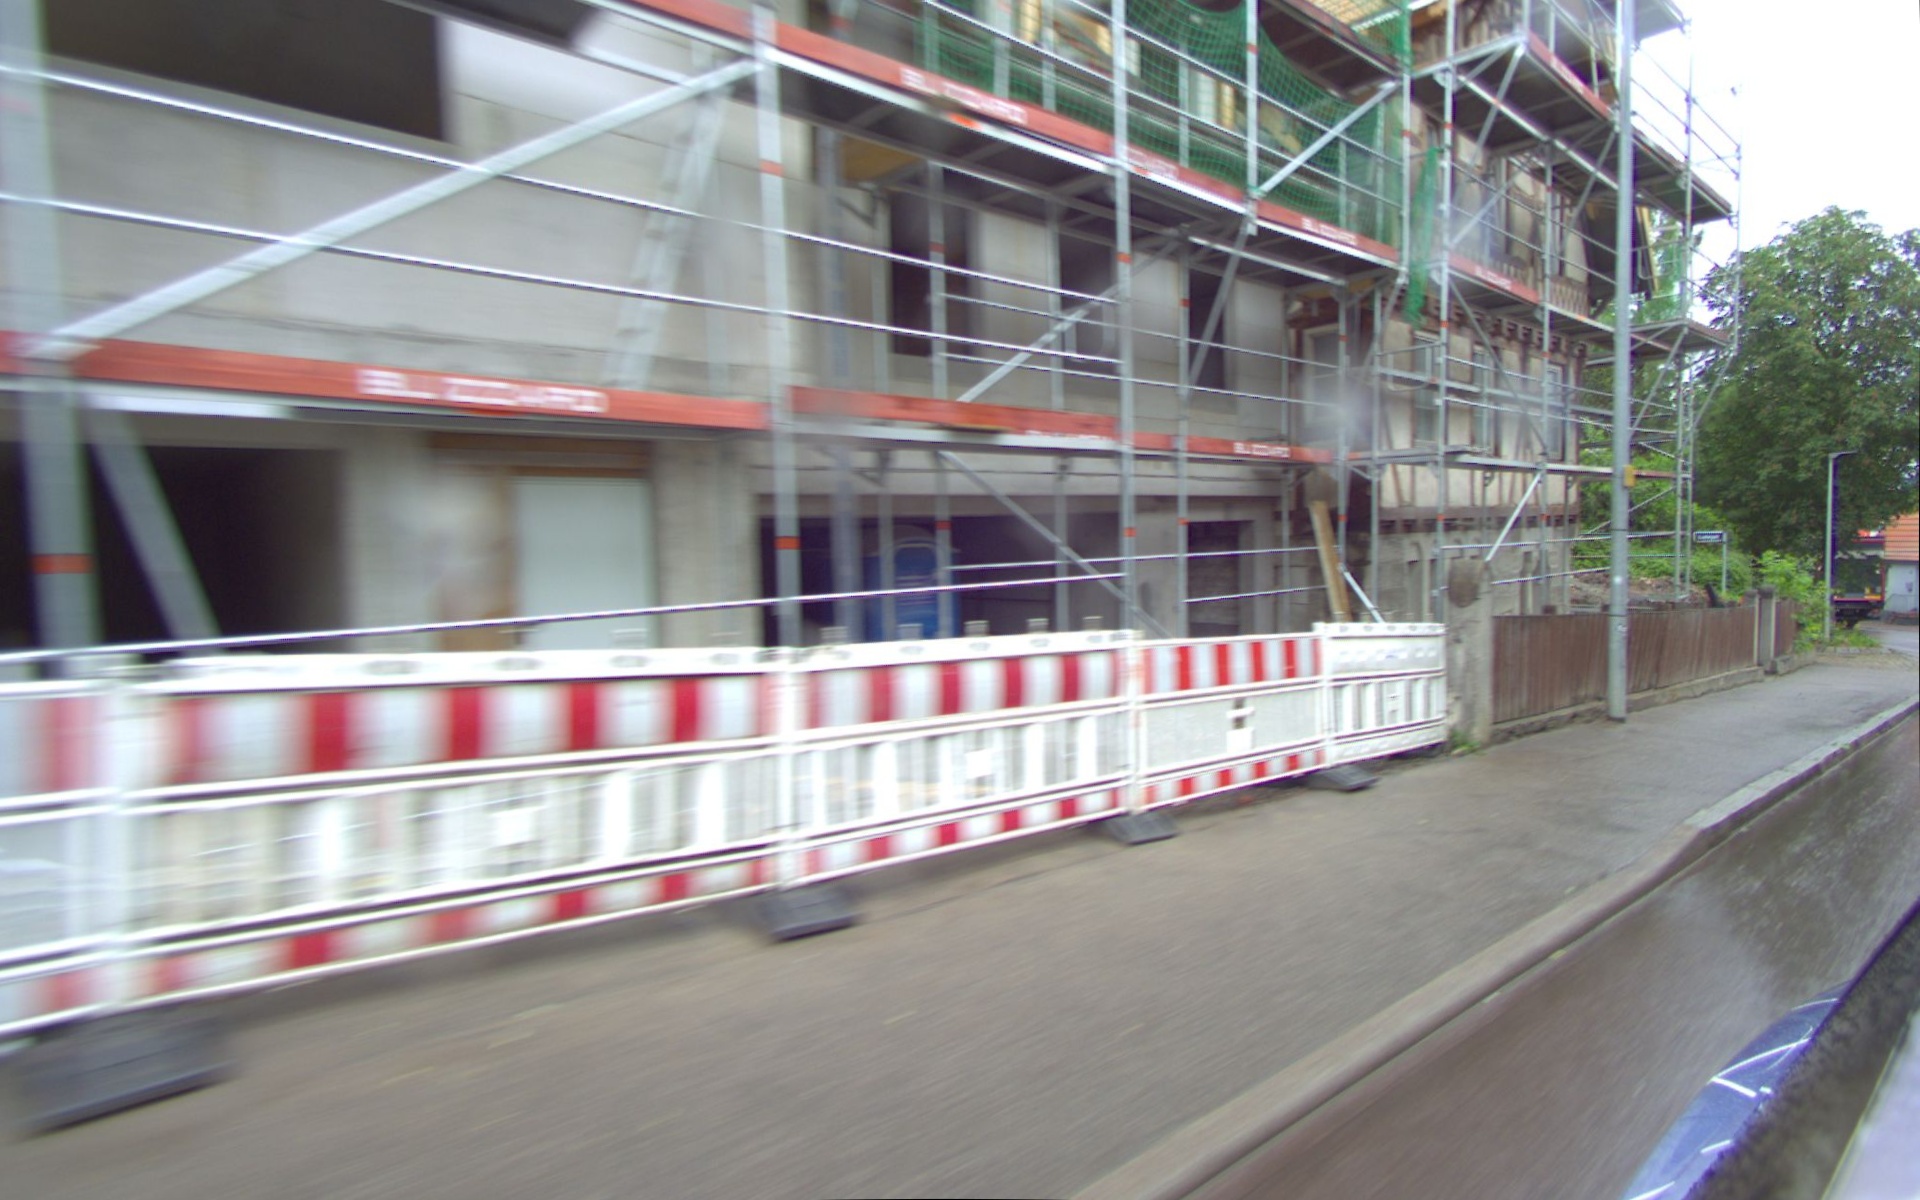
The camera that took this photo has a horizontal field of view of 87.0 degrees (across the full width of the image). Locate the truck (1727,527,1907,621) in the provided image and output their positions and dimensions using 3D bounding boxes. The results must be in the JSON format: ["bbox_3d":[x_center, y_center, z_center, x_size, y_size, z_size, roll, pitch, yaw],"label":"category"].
[{"bbox_3d":[40.387,-1.176,48.269,2.820,4.017,10.369,0,1,18],"label":"truck"}]
